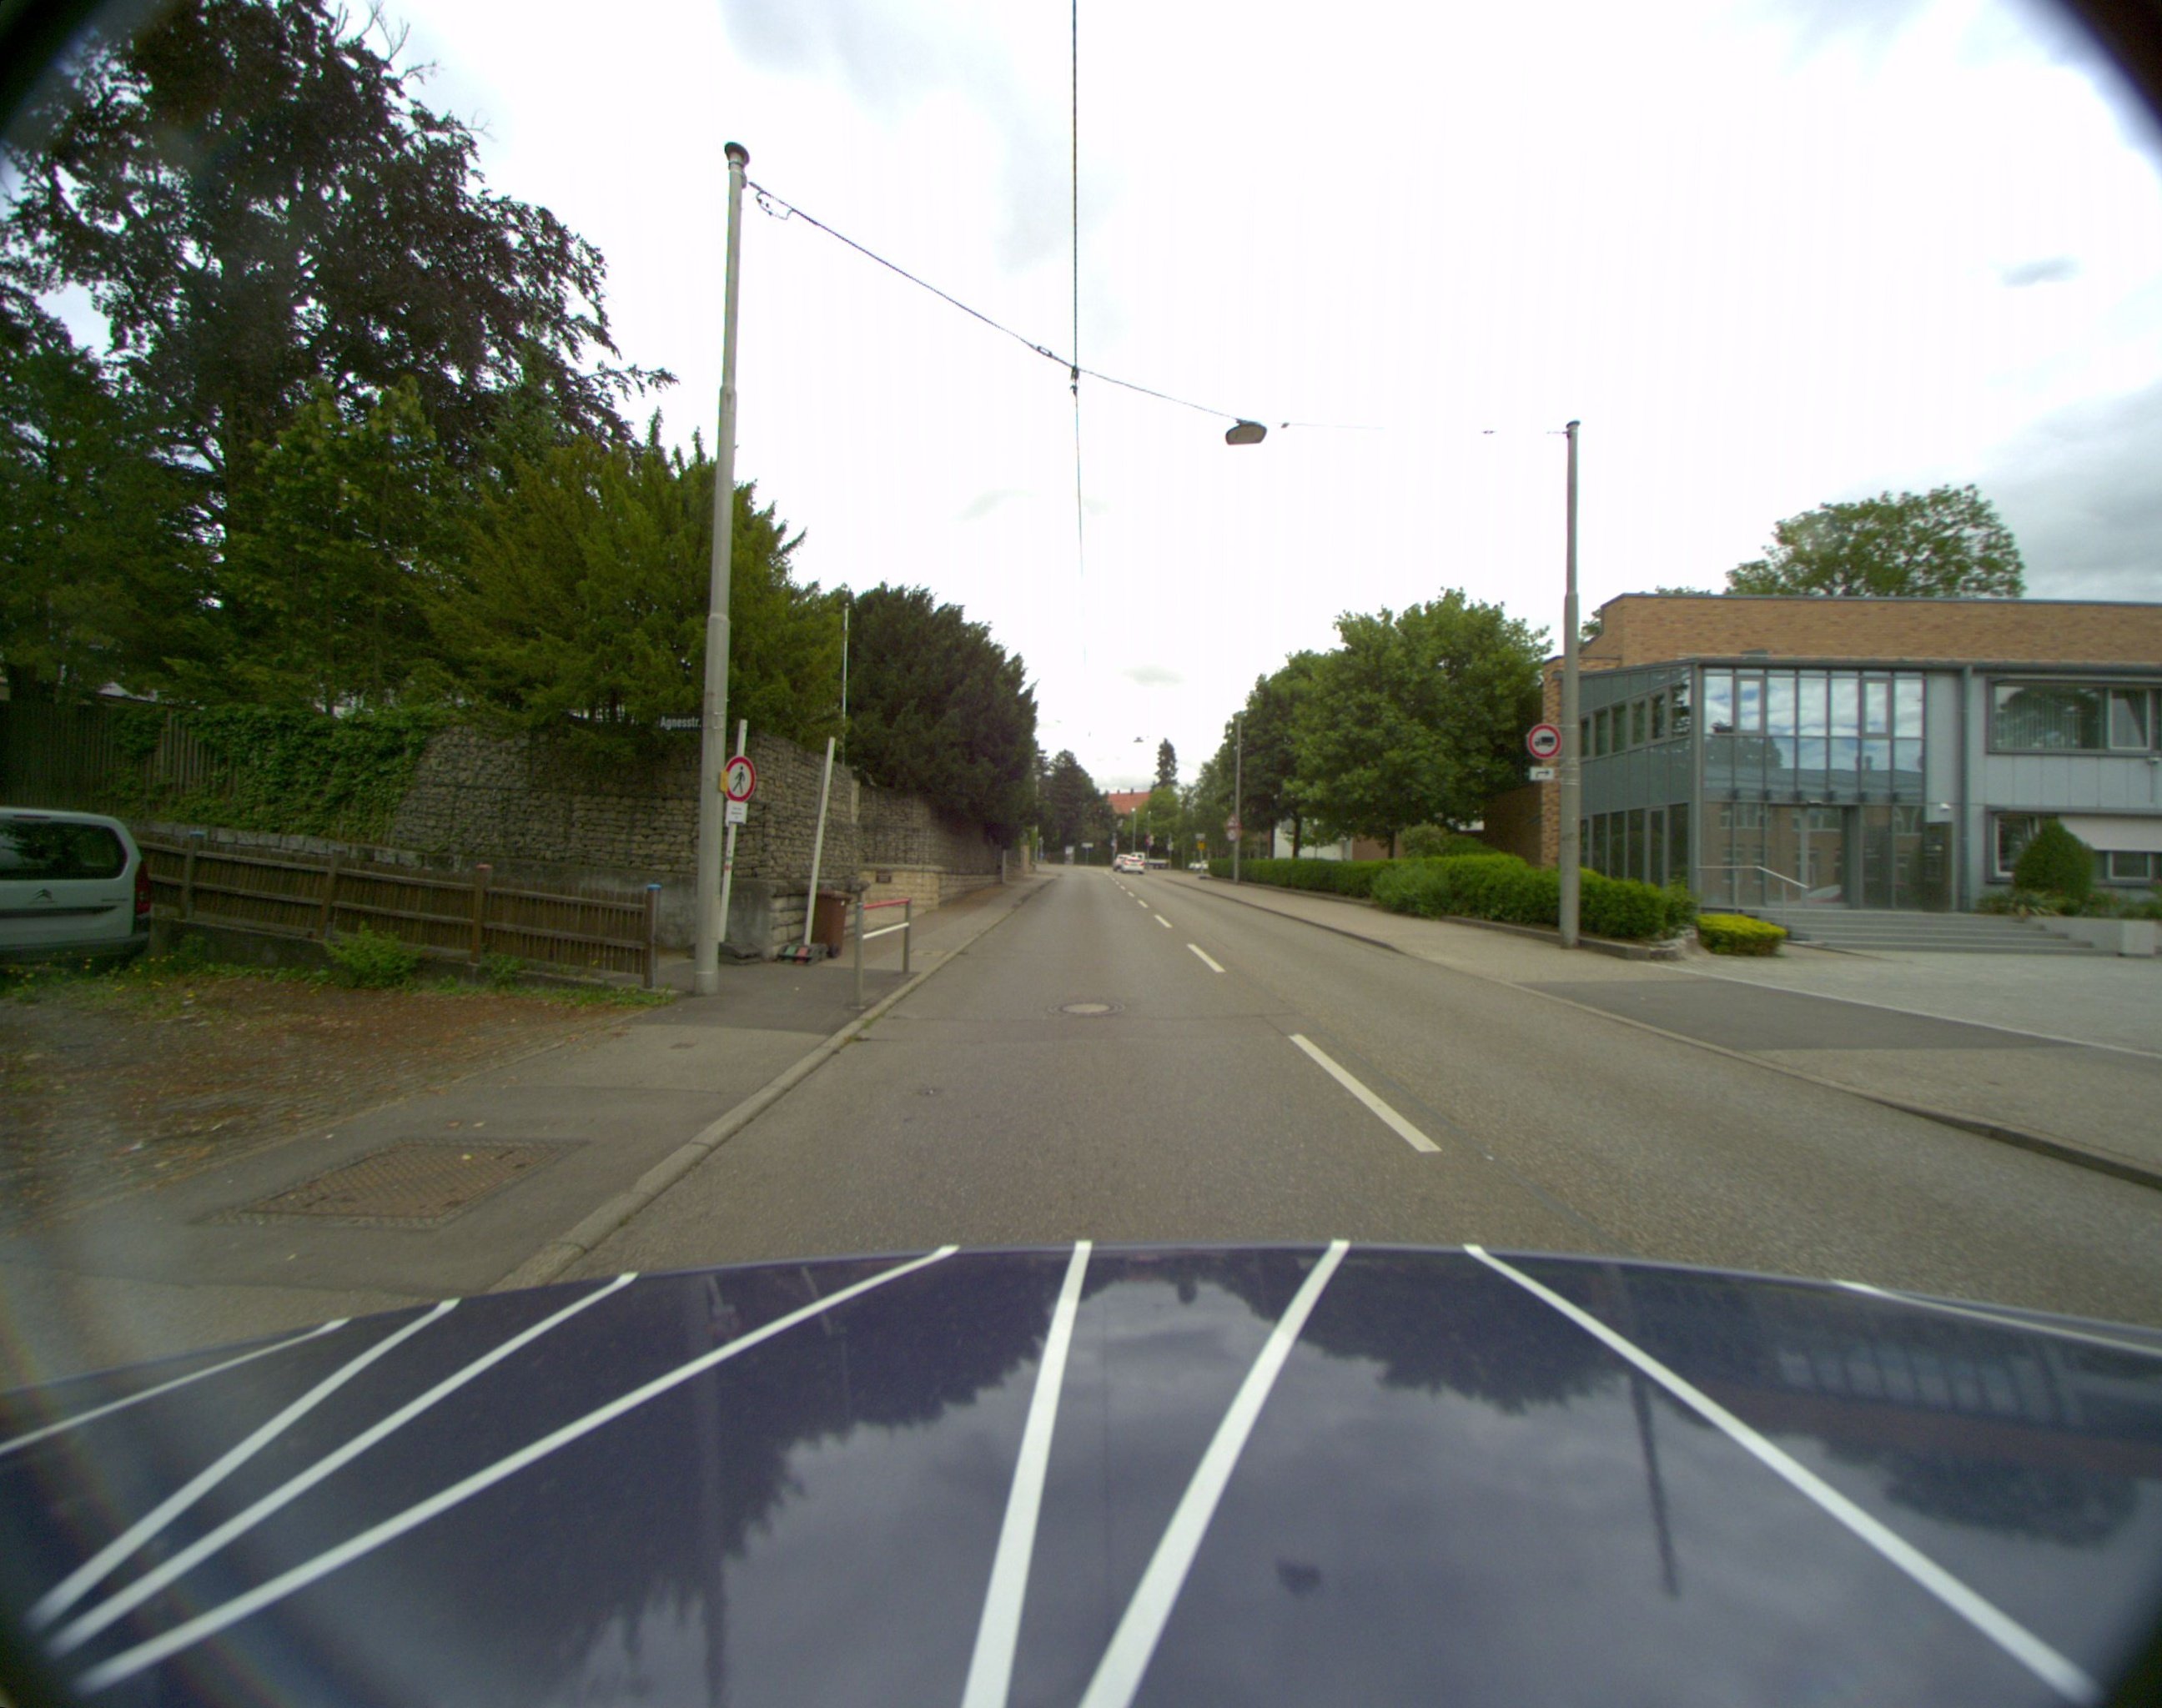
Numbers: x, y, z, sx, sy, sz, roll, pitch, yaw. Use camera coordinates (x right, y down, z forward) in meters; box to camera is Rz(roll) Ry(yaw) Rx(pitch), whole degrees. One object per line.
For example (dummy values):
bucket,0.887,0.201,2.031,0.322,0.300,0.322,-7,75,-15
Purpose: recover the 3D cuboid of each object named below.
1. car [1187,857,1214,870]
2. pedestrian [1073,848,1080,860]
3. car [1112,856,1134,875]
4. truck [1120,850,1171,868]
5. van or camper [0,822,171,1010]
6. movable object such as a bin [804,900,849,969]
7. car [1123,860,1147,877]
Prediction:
car,16.803,1.342,106.812,1.994,1.603,4.010,3,0,39
pedestrian,-0.606,0.010,108.322,0.665,1.777,0.614,3,0,30
car,4.008,1.110,72.574,1.773,1.628,4.301,4,0,0
truck,8.912,0.650,104.363,6.706,2.176,2.532,3,1,11
van or camper,-11.906,0.558,7.573,3.994,1.737,1.792,0,1,9
movable object such as a bin,-3.546,1.115,10.592,0.446,0.904,0.394,1,0,10
car,4.616,1.233,65.886,1.771,1.413,4.065,-1,0,0
